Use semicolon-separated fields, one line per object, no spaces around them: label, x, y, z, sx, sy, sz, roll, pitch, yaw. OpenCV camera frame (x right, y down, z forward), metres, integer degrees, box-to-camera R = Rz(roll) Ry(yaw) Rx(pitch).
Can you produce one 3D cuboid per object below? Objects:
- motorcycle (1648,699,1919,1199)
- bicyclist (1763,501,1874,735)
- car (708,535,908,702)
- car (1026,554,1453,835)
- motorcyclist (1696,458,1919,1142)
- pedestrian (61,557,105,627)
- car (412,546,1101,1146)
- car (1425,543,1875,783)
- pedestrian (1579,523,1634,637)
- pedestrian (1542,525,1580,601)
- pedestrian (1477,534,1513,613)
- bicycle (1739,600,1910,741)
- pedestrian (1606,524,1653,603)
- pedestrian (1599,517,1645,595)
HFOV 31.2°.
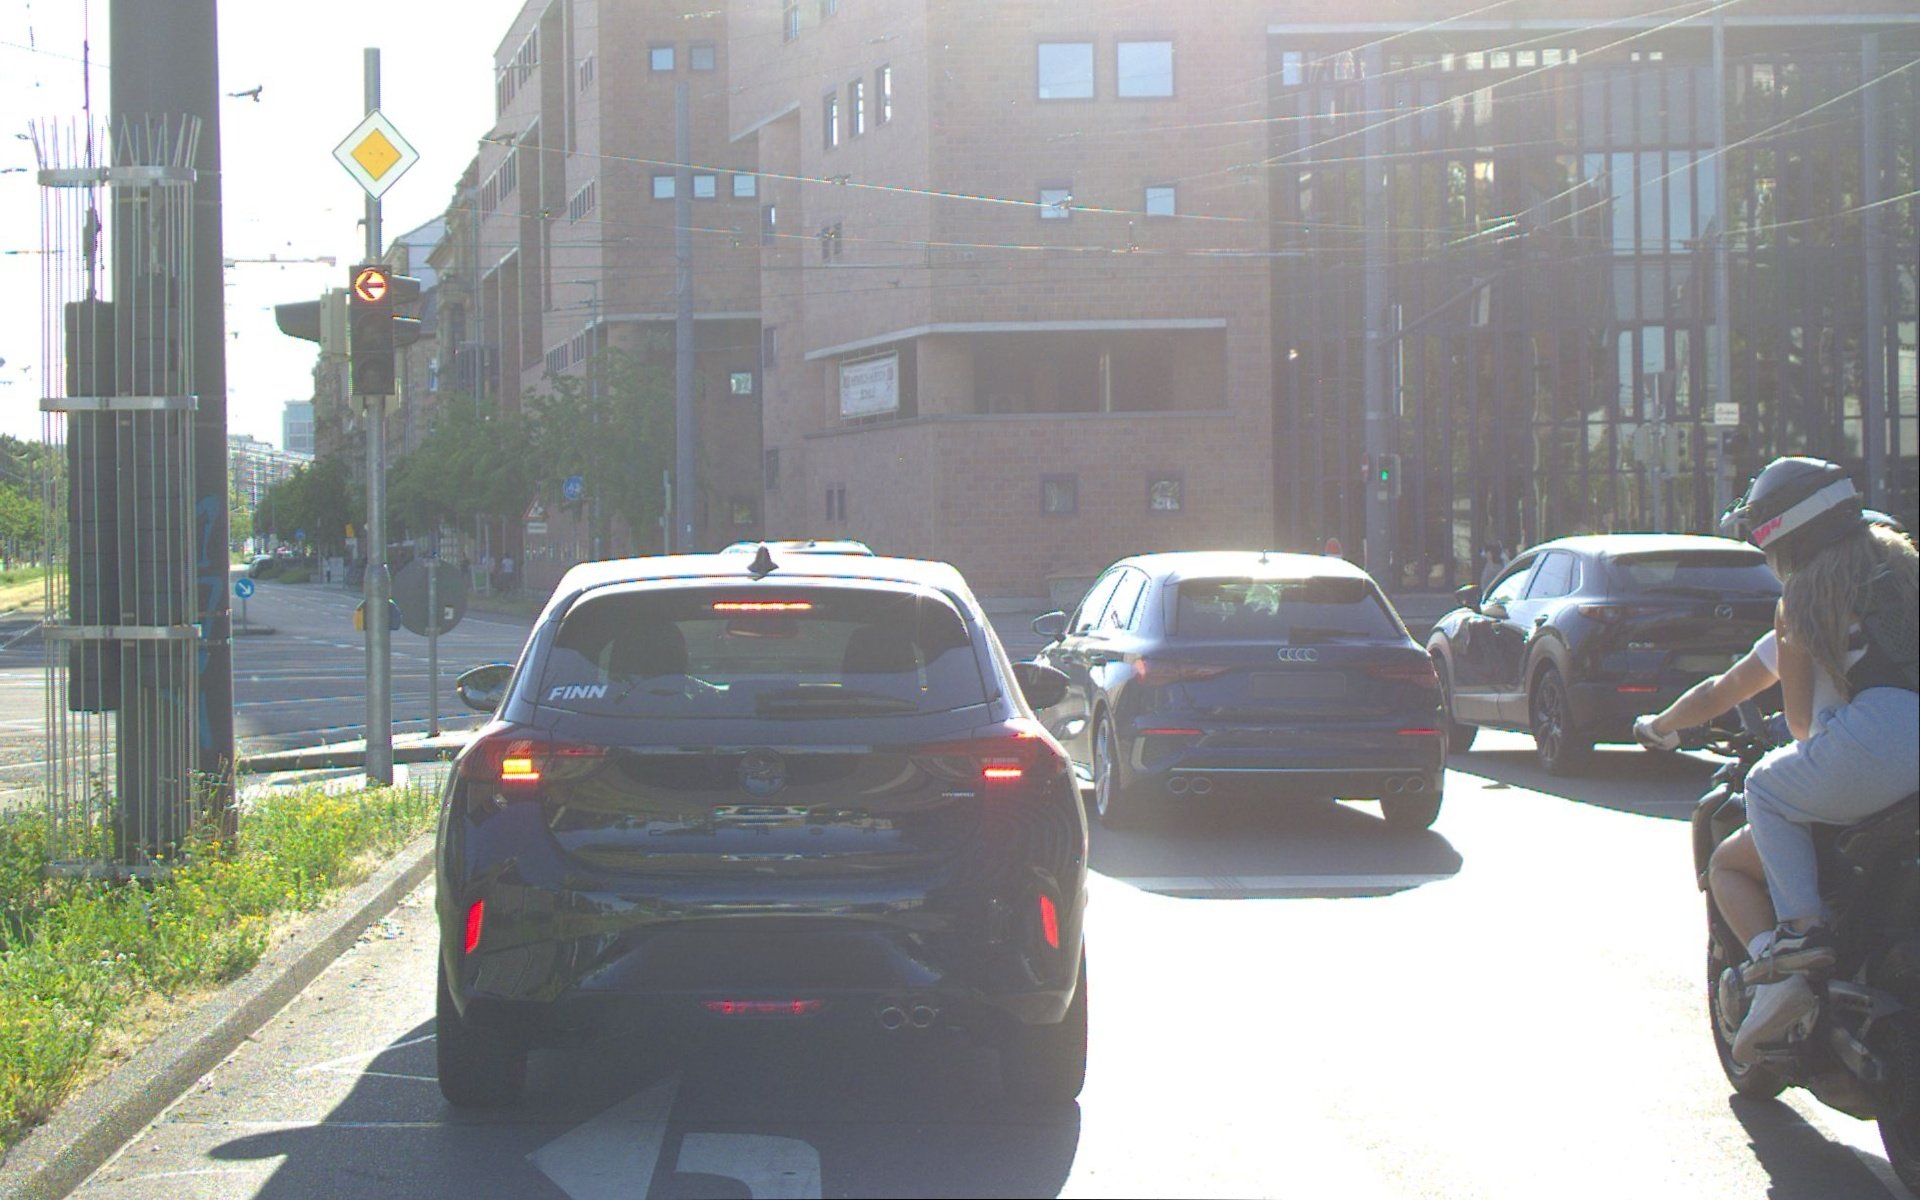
motorcycle;2.246;0.851;8.395;0.775;1.111;1.969;-1;1;1
bicyclist;6.680;0.126;26.773;0.577;1.785;0.864;-1;1;-5
car;-1.655;0.147;36.191;1.737;1.645;4.001;-1;1;-8
car;1.415;0.436;18.888;1.737;1.345;4.001;-1;1;-4
motorcyclist;2.229;0.434;8.174;0.745;1.525;1.021;-1;1;1
pedestrian;-20.800;-0.191;81.525;0.765;1.634;0.744;-1;1;-35
car;-0.503;0.563;10.296;1.649;1.428;4.000;-1;1;0
car;4.509;0.357;23.076;1.807;1.452;4.001;0;1;-6
pedestrian;10.103;-0.314;53.726;0.707;1.753;0.560;0;1;24
pedestrian;12.789;-0.785;73.159;0.738;1.611;0.560;-1;1;7
pedestrian;9.756;-0.493;62.711;0.529;1.425;0.598;-1;1;-2
bicycle;6.678;0.525;26.667;0.491;0.994;2.328;-1;1;-6
pedestrian;13.794;-0.752;70.822;0.900;1.611;0.560;-1;1;7
pedestrian;13.888;-0.931;72.101;0.900;1.611;0.560;-1;1;7
